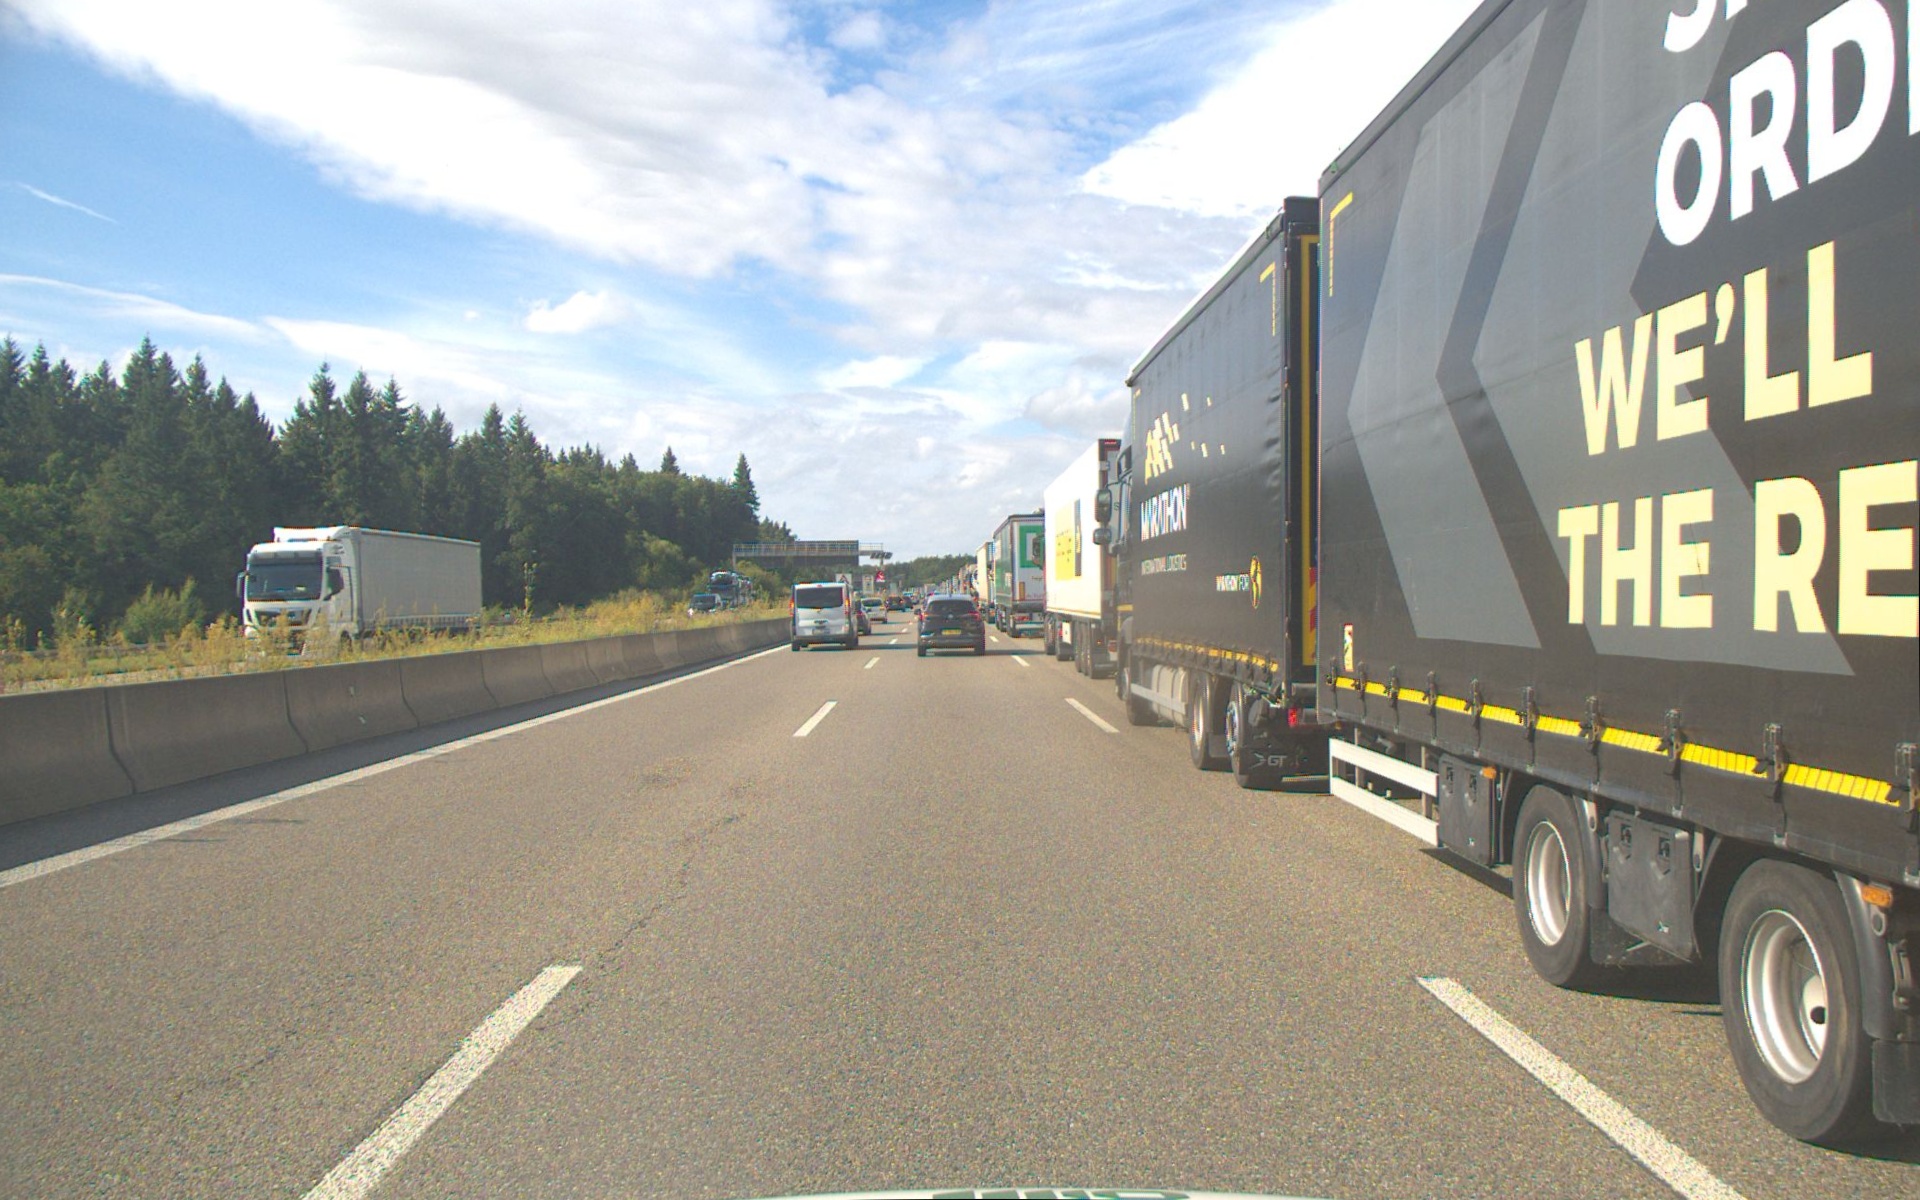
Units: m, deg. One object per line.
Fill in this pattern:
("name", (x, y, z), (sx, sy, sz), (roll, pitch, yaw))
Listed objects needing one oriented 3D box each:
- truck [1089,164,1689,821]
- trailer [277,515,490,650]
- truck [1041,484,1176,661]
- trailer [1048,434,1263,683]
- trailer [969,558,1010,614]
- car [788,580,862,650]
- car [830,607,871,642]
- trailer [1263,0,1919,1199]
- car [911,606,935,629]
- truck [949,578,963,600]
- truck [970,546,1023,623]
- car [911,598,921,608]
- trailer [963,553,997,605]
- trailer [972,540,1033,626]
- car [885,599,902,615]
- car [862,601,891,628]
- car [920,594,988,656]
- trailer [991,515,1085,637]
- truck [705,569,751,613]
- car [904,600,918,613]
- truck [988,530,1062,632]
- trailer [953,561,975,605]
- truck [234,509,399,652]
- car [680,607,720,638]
("truck", (3.145, -0.661, 15.636), (2.685, 4.109, 10.199), (1, 0, -2))
("trailer", (-19.464, -0.504, 57.076), (2.775, 4.062, 13.546), (-1, 0, -1))
("truck", (3.514, -0.618, 40.512), (2.744, 4.008, 5.825), (0, 0, 0))
("trailer", (3.517, -0.649, 33.308), (2.734, 4.008, 13.068), (0, 0, 0))
("trailer", (2.029, -0.930, 117.639), (2.489, 3.717, 10.625), (-2, 0, 0))
("car", (-4.117, 0.456, 51.089), (1.893, 2.013, 5.097), (2, 0, -1))
("car", (-4.496, 0.987, 68.259), (1.469, 1.420, 3.475), (0, 0, -1))
("trailer", (3.416, -0.645, 6.202), (2.661, 4.030, 8.708), (1, 0, -2))
("car", (-2.413, 1.100, 107.478), (1.549, 1.420, 3.206), (2, 0, -2))
("truck", (-0.648, -1.548, 242.768), (1.953, 3.106, 4.981), (1, 0, 0))
("truck", (2.048, -0.853, 94.709), (2.653, 4.130, 6.360), (-2, 0, -1))
("car", (-6.219, 0.416, 231.866), (1.333, 1.324, 3.084), (2, 0, -1))
("trailer", (1.731, -1.805, 147.898), (2.745, 4.318, 11.056), (-2, 0, 0))
("trailer", (2.132, -0.854, 87.681), (2.648, 4.153, 12.942), (-2, 0, -1))
("car", (-5.965, 0.625, 148.262), (1.405, 1.333, 3.532), (2, 0, -1))
("car", (-4.724, 0.819, 94.253), (1.469, 1.420, 3.475), (2, 0, -1))
("car", (-0.177, 0.643, 43.837), (1.662, 1.509, 4.159), (2, 0, -1))
("trailer", (2.672, -0.752, 60.647), (2.607, 3.936, 13.392), (-1, 0, -1))
("truck", (-20.962, -0.771, 149.923), (2.774, 3.753, 11.129), (-1, 0, -1))
("car", (-5.062, 0.695, 170.569), (1.405, 1.333, 3.532), (2, 0, -1))
("truck", (2.598, -0.724, 67.728), (2.593, 3.936, 6.995), (-1, 0, -1))
("trailer", (0.406, -1.708, 171.103), (2.106, 4.333, 8.439), (-1, 0, 0))
("truck", (-19.349, -0.540, 50.099), (2.762, 4.045, 5.832), (-1, 0, -1))
("car", (-16.704, 1.408, 106.260), (1.840, 1.909, 4.489), (2, 0, 0))
